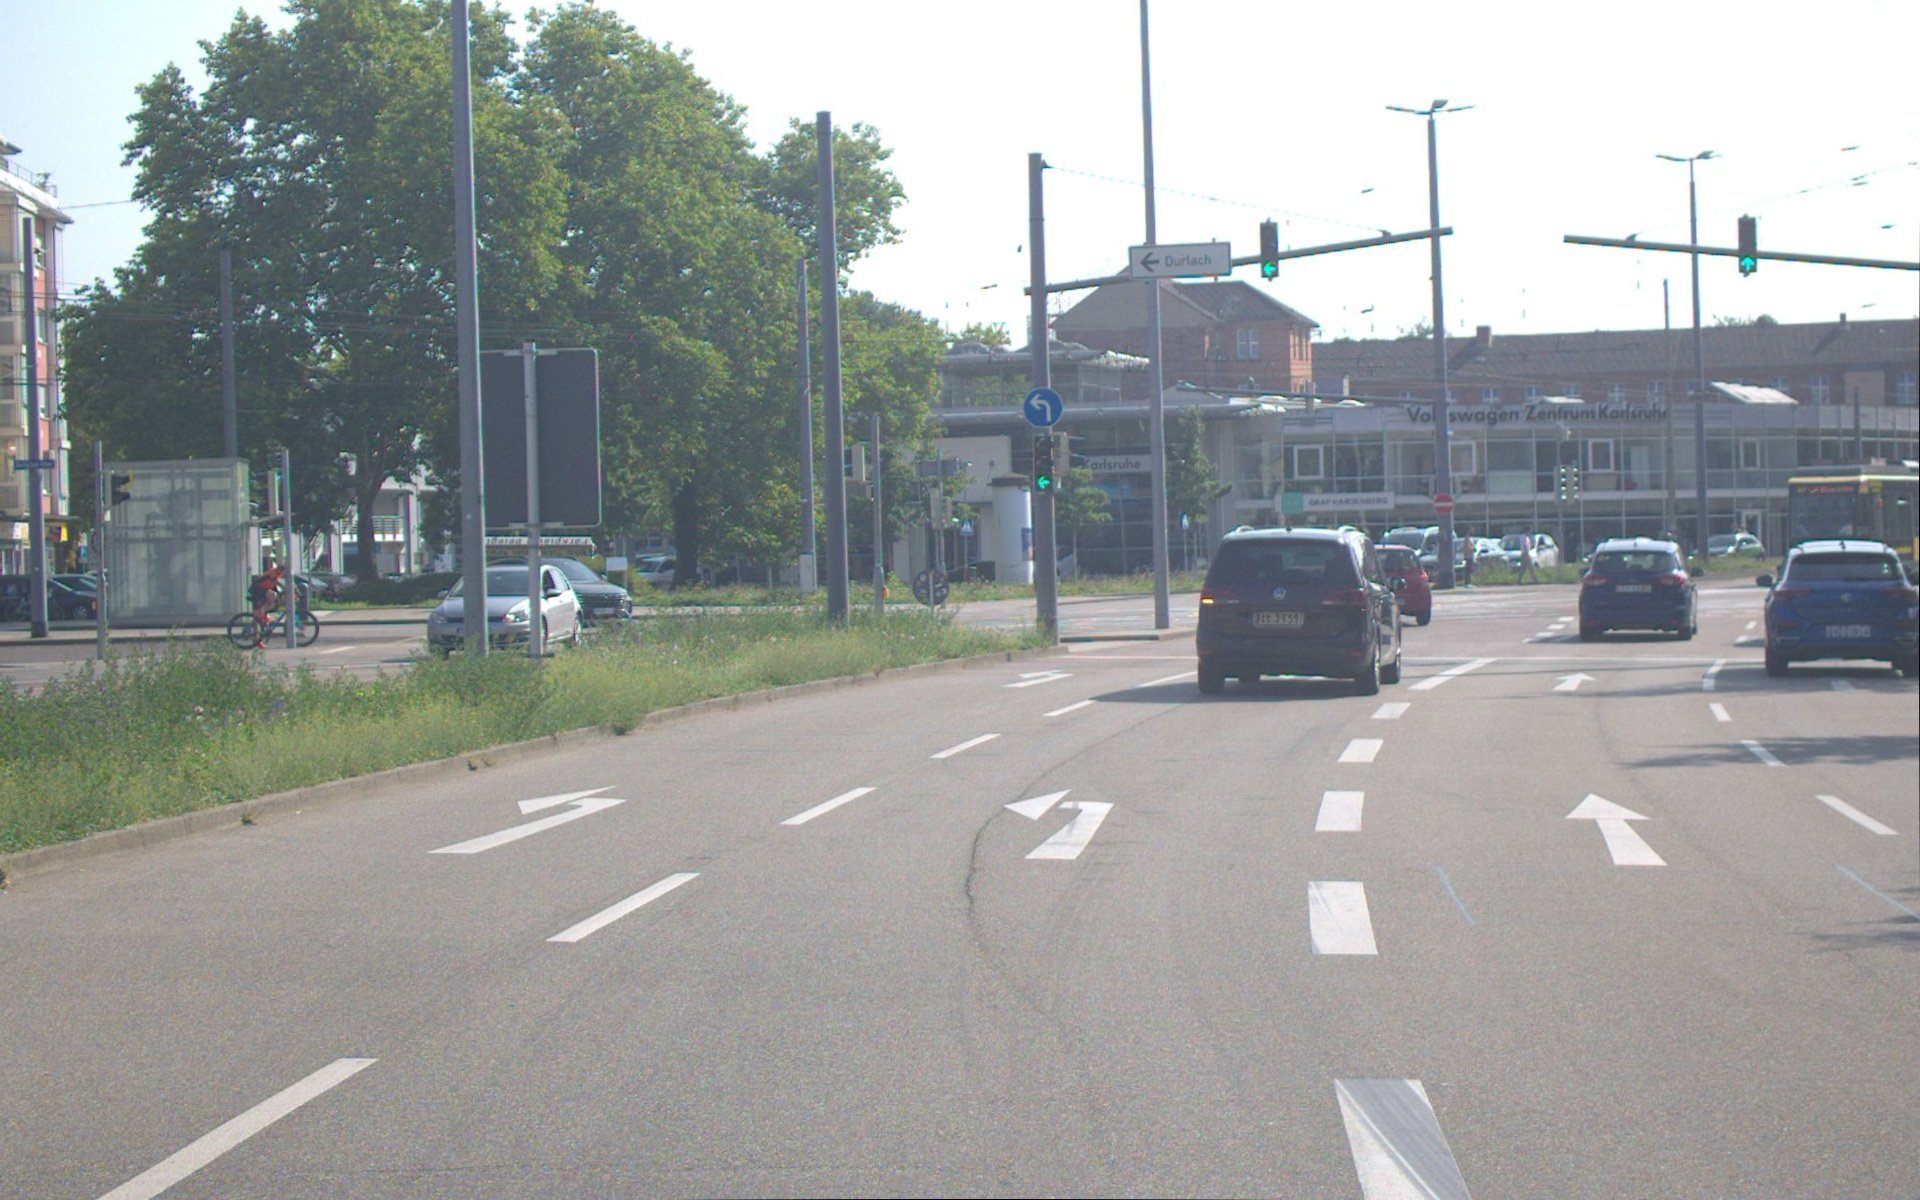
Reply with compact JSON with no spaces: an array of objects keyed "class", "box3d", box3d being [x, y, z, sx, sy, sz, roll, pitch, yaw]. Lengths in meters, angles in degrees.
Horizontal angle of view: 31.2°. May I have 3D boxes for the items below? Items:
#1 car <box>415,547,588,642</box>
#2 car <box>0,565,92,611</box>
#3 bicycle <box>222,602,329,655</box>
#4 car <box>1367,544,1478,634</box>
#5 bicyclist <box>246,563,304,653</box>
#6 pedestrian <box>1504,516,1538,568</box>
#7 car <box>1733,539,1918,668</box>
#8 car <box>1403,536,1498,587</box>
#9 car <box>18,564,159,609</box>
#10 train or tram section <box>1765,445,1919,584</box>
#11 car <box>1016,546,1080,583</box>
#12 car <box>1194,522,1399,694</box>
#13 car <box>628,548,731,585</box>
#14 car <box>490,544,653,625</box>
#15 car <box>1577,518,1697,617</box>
[{"class":"car","box3d":[-7.276,-0.117,54.962,1.814,1.428,4.224,-1,1,5]},{"class":"car","box3d":[-28.231,-0.352,102.982,4.155,1.349,1.482,-1,1,-7]},{"class":"bicycle","box3d":[-12.688,0.531,63.745,1.813,0.929,0.726,-1,1,1]},{"class":"car","box3d":[8.567,-0.227,63.442,1.826,1.530,4.410,-1,1,10]},{"class":"bicyclist","box3d":[-12.697,0.142,63.747,0.881,1.646,0.726,-1,1,1]},{"class":"pedestrian","box3d":[16.429,-1.694,100.704,0.778,1.498,0.709,-1,1,26]},{"class":"car","box3d":[10.423,0.006,41.639,1.826,1.423,4.410,-1,1,10]},{"class":"car","box3d":[15.073,-1.191,105.477,1.616,1.470,3.994,-3,0,27]},{"class":"car","box3d":[-27.708,-0.441,109.341,4.155,1.349,1.578,-1,1,-7]},{"class":"train or tram section","box3d":[25.555,-2.448,97.870,2.658,3.686,10.574,-1,1,27]},{"class":"car","box3d":[3.742,-1.531,145.592,1.701,1.517,4.096,-1,1,16]},{"class":"car","box3d":[3.654,0.030,36.734,1.826,1.708,4.410,1,1,10]},{"class":"car","box3d":[-12.239,-1.469,150.112,1.704,1.517,4.503,0,1,43]},{"class":"car","box3d":[-8.186,-0.321,72.178,1.694,1.612,4.462,-2,1,-31]},{"class":"car","box3d":[11.146,-0.564,56.474,1.826,1.530,4.410,-1,1,12]}]
